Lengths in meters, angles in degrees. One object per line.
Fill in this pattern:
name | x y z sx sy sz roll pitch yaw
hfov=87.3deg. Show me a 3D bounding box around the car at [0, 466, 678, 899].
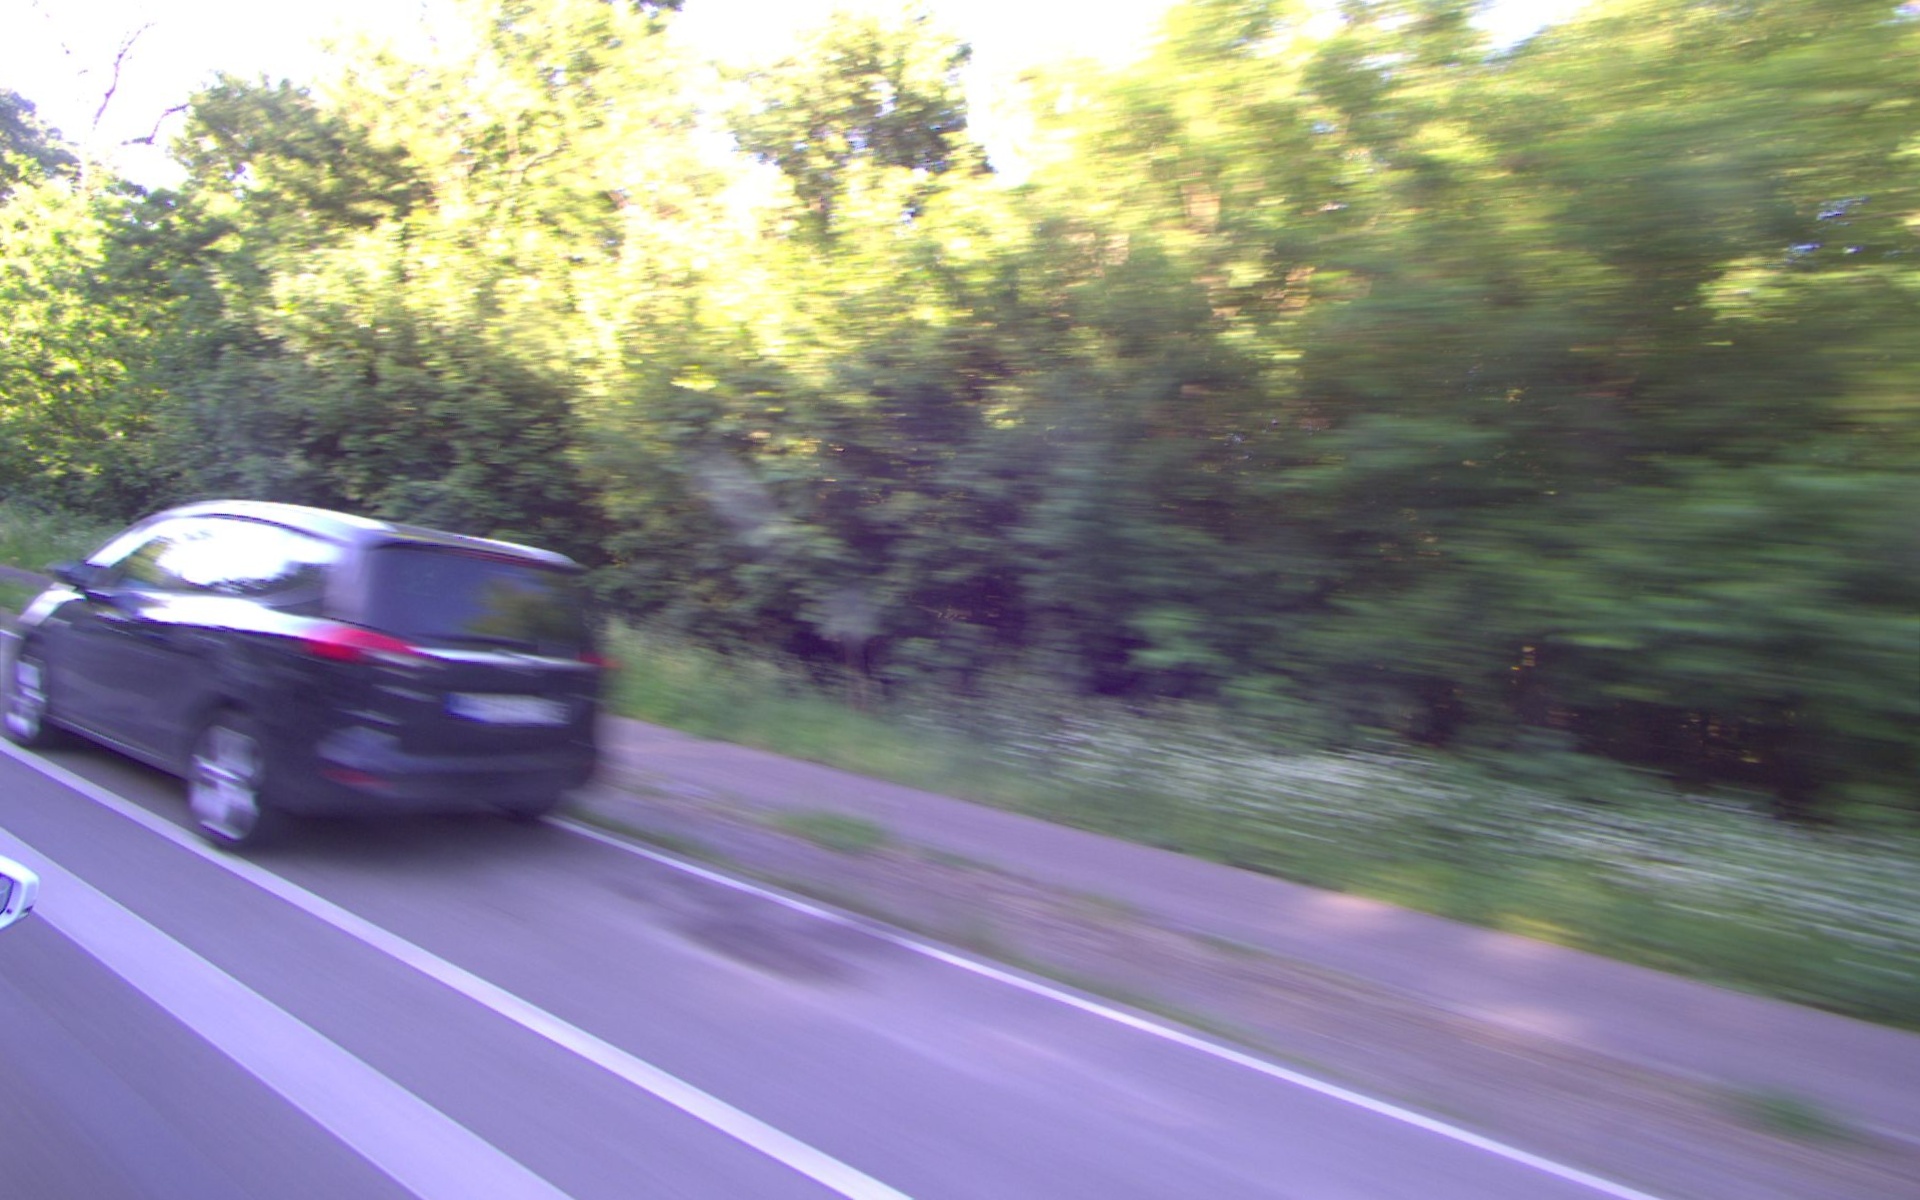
car | -4.077 0.269 6.128 4.526 1.710 1.803 6 -2 32
